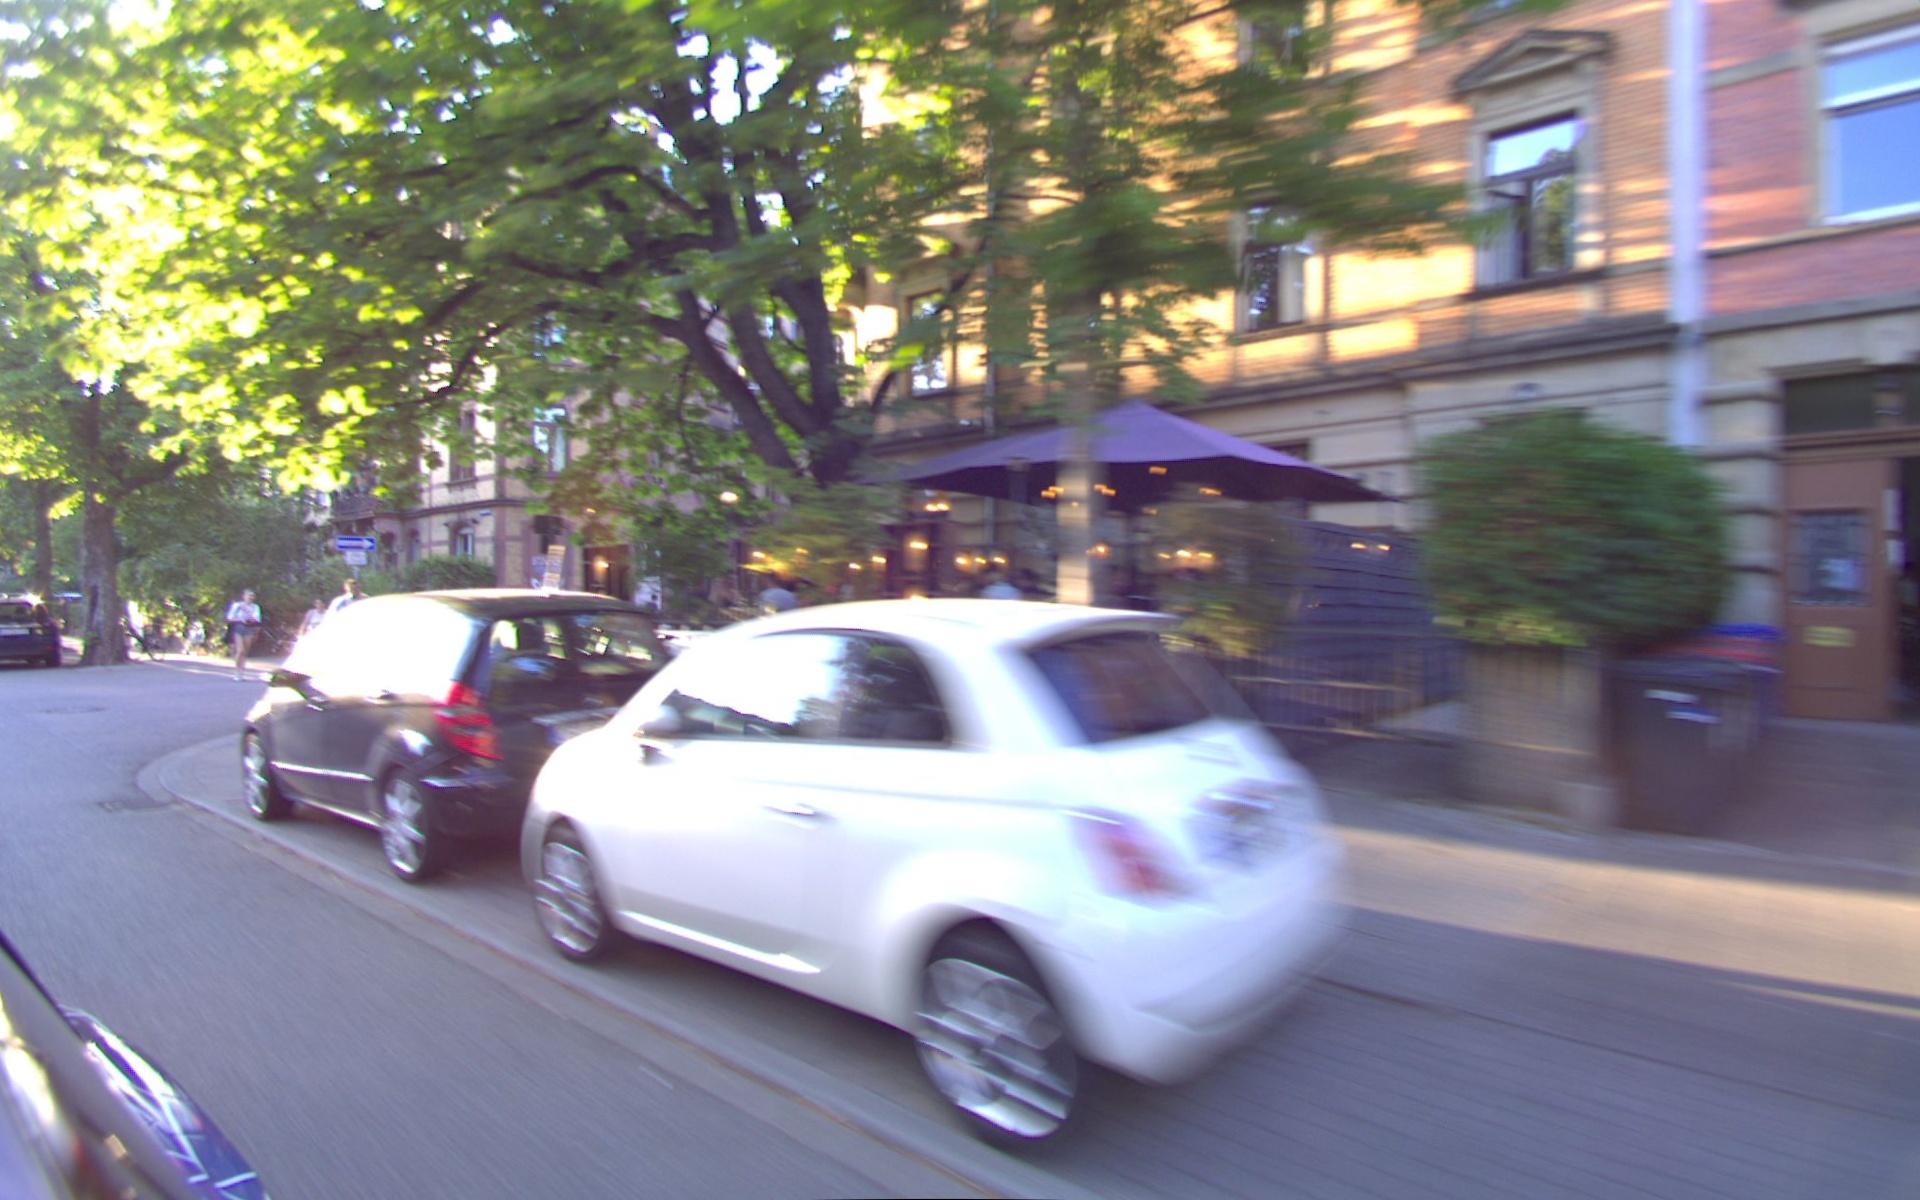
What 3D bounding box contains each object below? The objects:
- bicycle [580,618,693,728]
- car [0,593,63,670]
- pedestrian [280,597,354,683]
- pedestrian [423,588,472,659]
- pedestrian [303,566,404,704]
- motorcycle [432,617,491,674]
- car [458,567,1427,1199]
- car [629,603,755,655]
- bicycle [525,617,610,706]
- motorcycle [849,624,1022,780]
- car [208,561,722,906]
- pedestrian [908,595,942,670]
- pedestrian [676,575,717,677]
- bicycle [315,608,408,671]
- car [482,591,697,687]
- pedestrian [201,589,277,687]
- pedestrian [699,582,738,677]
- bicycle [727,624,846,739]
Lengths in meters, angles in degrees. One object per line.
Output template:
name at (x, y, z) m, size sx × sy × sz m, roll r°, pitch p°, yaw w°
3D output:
bicycle at (-3.936, 0.841, 12.228) m, size 1.957 × 1.194 × 0.387 m, roll 0°, pitch 2°, yaw 44°
car at (-22.866, 0.722, 23.930) m, size 4.588 × 1.700 × 1.847 m, roll -1°, pitch 0°, yaw 40°
pedestrian at (-12.646, 0.775, 19.912) m, size 1.043 × 1.643 × 0.684 m, roll 0°, pitch -1°, yaw 15°
pedestrian at (-13.964, 0.618, 27.587) m, size 0.777 × 1.837 × 0.916 m, roll 3°, pitch 2°, yaw 29°
pedestrian at (-9.278, 0.519, 15.497) m, size 1.002 × 2.029 × 0.863 m, roll 0°, pitch -1°, yaw 21°
motorcycle at (-11.479, 1.028, 23.266) m, size 1.859 × 1.266 × 0.466 m, roll -2°, pitch -2°, yaw 39°
car at (-0.330, 0.687, 4.074) m, size 3.707 × 1.504 × 1.648 m, roll -1°, pitch 1°, yaw 40°
car at (-8.164, 0.890, 31.251) m, size 1.567 × 1.470 × 4.394 m, roll -1°, pitch -2°, yaw 20°
bicycle at (-5.462, 0.818, 14.028) m, size 1.746 × 1.152 × 0.387 m, roll -1°, pitch 0°, yaw 44°
motorcycle at (-0.271, 0.829, 8.899) m, size 0.386 × 1.194 × 1.960 m, roll -1°, pitch 1°, yaw -39°
car at (-3.490, 0.657, 6.840) m, size 3.843 × 1.690 × 1.648 m, roll -1°, pitch 1°, yaw 40°
pedestrian at (-0.673, 0.627, 19.431) m, size 0.461 × 1.423 × 0.519 m, roll -1°, pitch -2°, yaw 26°
pedestrian at (-3.843, 0.385, 14.776) m, size 0.458 × 1.462 × 0.428 m, roll -1°, pitch -2°, yaw 9°
bicycle at (-13.729, 0.886, 23.233) m, size 1.772 × 1.403 × 0.519 m, roll 1°, pitch 0°, yaw -39°
car at (-6.668, 0.696, 18.650) m, size 1.621 × 1.557 × 3.830 m, roll -1°, pitch -2°, yaw 21°
pedestrian at (-13.916, 0.716, 19.538) m, size 1.000 × 1.849 × 0.684 m, roll 0°, pitch -1°, yaw 15°
pedestrian at (-3.778, 0.456, 15.842) m, size 0.458 × 1.462 × 0.428 m, roll -1°, pitch -2°, yaw 9°
bicycle at (-2.017, 0.880, 11.552) m, size 0.386 × 1.152 × 1.960 m, roll -2°, pitch 2°, yaw -39°
